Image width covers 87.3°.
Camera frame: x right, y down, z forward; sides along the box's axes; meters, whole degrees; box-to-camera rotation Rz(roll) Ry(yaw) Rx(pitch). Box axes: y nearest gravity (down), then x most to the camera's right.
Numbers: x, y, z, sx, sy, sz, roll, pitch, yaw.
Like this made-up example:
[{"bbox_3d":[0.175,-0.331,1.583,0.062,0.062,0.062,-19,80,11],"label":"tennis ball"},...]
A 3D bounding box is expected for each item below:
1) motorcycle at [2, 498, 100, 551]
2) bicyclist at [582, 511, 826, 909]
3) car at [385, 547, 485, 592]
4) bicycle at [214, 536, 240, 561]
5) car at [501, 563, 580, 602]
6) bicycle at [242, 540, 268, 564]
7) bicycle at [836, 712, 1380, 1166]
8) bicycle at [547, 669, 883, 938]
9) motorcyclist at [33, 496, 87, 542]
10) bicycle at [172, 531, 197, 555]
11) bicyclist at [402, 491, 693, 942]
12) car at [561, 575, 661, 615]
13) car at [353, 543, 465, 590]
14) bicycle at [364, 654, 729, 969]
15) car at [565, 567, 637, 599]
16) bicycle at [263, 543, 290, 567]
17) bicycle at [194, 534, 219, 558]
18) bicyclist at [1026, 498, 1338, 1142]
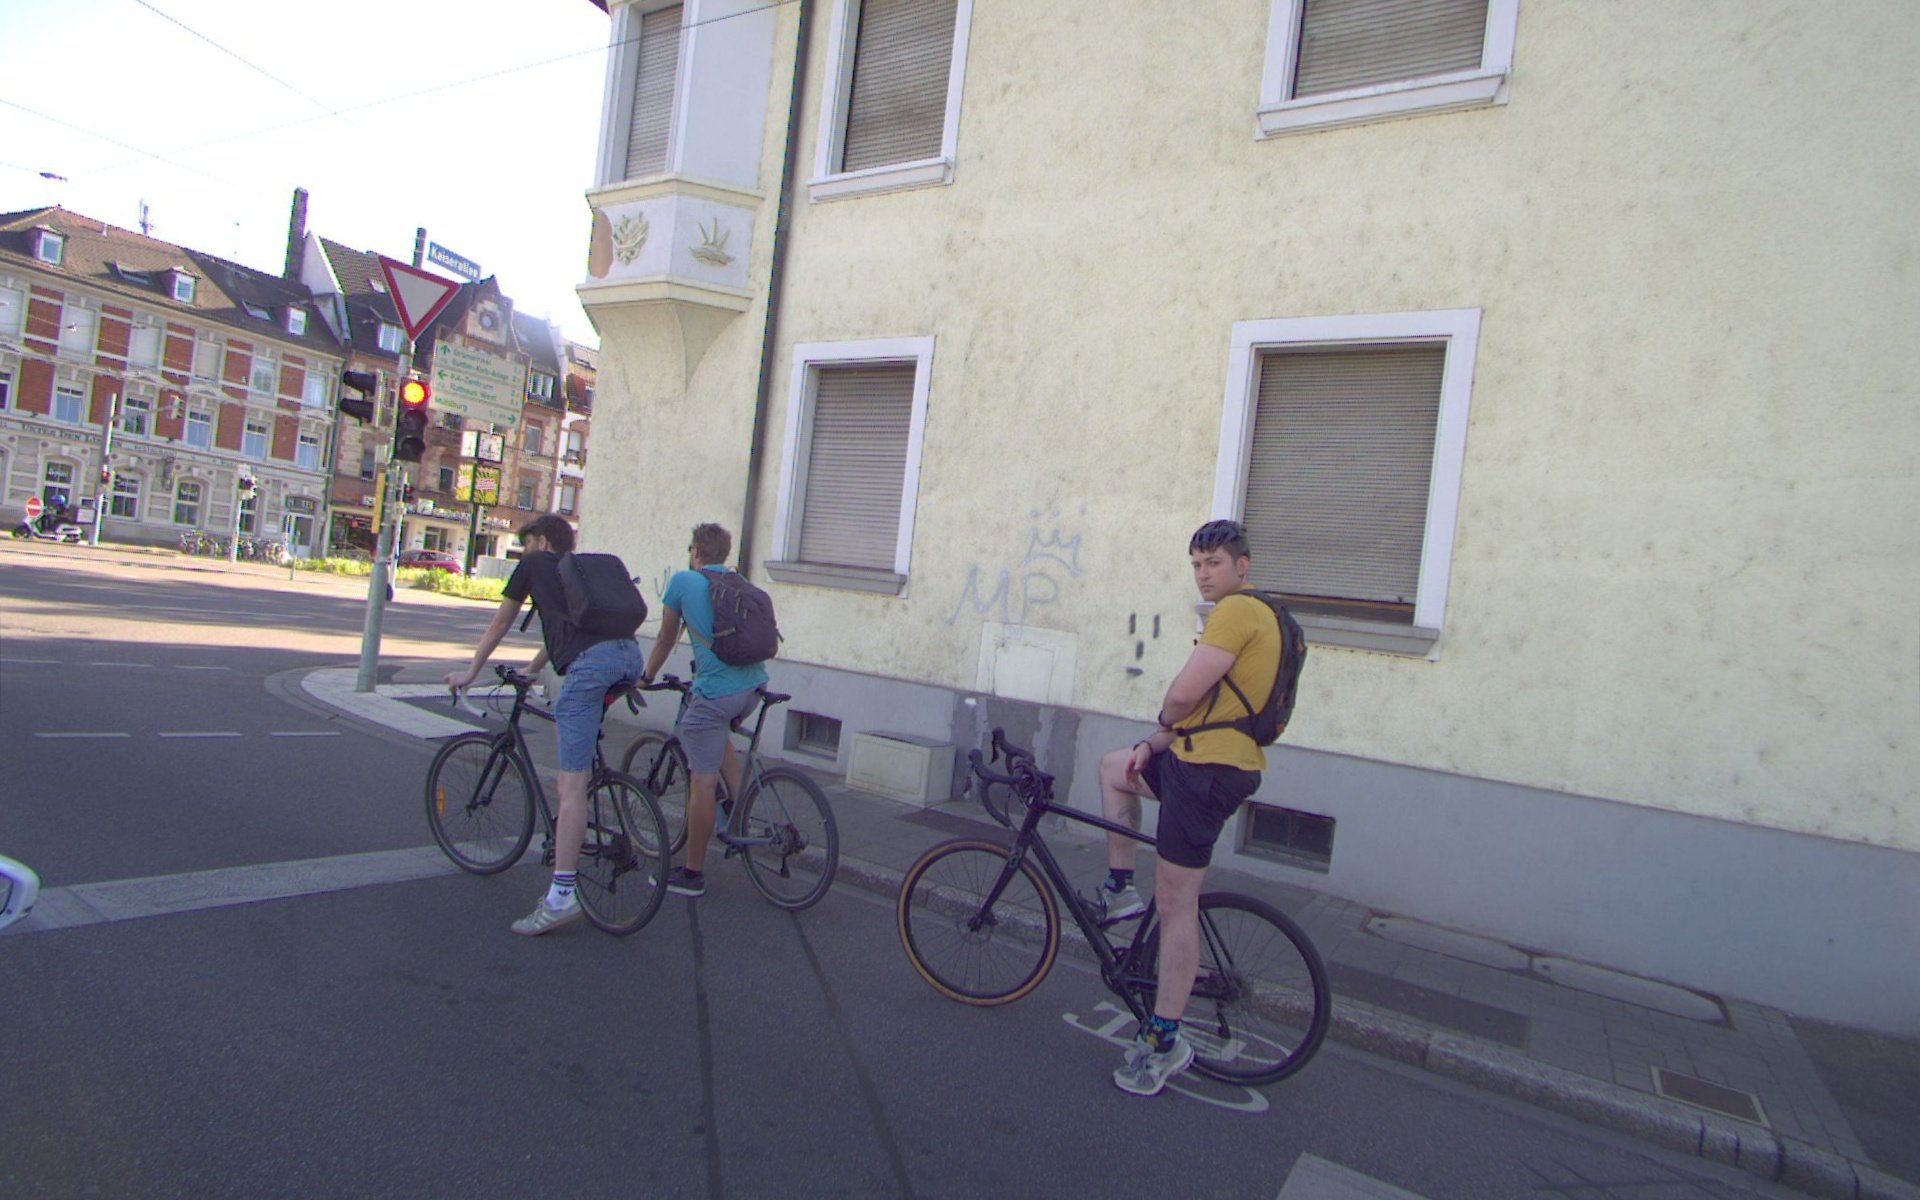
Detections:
[{"bbox_3d":[-29.676,-2.462,32.882,0.784,1.349,2.139,6,-2,32],"label":"motorcycle"},{"bbox_3d":[-1.345,0.525,5.271,0.960,1.868,0.504,6,-1,32],"label":"bicyclist"},{"bbox_3d":[-26.445,-1.519,50.755,1.775,1.641,3.994,6,-2,33],"label":"car"},{"bbox_3d":[-34.255,-2.408,47.014,0.762,0.995,2.186,8,-2,-39],"label":"bicycle"},{"bbox_3d":[-23.328,-0.962,56.008,1.749,1.636,3.604,6,-2,30],"label":"car"},{"bbox_3d":[-33.607,-2.298,47.940,0.762,1.019,2.196,8,-2,-39],"label":"bicycle"},{"bbox_3d":[0.544,1.121,3.755,1.709,1.119,0.783,7,-1,18],"label":"bicycle"},{"bbox_3d":[-1.308,0.972,5.213,1.753,0.995,0.504,6,-1,32],"label":"bicycle"},{"bbox_3d":[-29.558,-2.653,33.039,0.776,1.315,1.016,6,-2,32],"label":"motorcyclist"},{"bbox_3d":[-35.354,-2.599,45.867,0.762,0.974,2.186,8,-2,-39],"label":"bicycle"},{"bbox_3d":[-1.855,0.469,4.530,0.920,1.787,0.590,6,-1,32],"label":"bicyclist"},{"bbox_3d":[-18.402,-0.238,53.242,1.774,1.487,4.866,8,-1,32],"label":"car"},{"bbox_3d":[-23.756,-1.404,43.472,1.569,1.443,3.876,7,-1,32],"label":"car"},{"bbox_3d":[-1.904,0.860,4.527,1.753,1.003,0.482,6,-1,32],"label":"bicycle"},{"bbox_3d":[-23.245,-1.089,65.211,1.842,1.454,3.985,6,-2,35],"label":"car"},{"bbox_3d":[-33.050,-2.196,48.659,0.789,1.027,2.186,8,-2,-39],"label":"bicycle"},{"bbox_3d":[-34.752,-2.498,46.392,0.762,0.979,2.186,8,-2,-39],"label":"bicycle"},{"bbox_3d":[0.829,0.712,3.681,0.763,1.990,0.783,7,0,18],"label":"bicyclist"}]
